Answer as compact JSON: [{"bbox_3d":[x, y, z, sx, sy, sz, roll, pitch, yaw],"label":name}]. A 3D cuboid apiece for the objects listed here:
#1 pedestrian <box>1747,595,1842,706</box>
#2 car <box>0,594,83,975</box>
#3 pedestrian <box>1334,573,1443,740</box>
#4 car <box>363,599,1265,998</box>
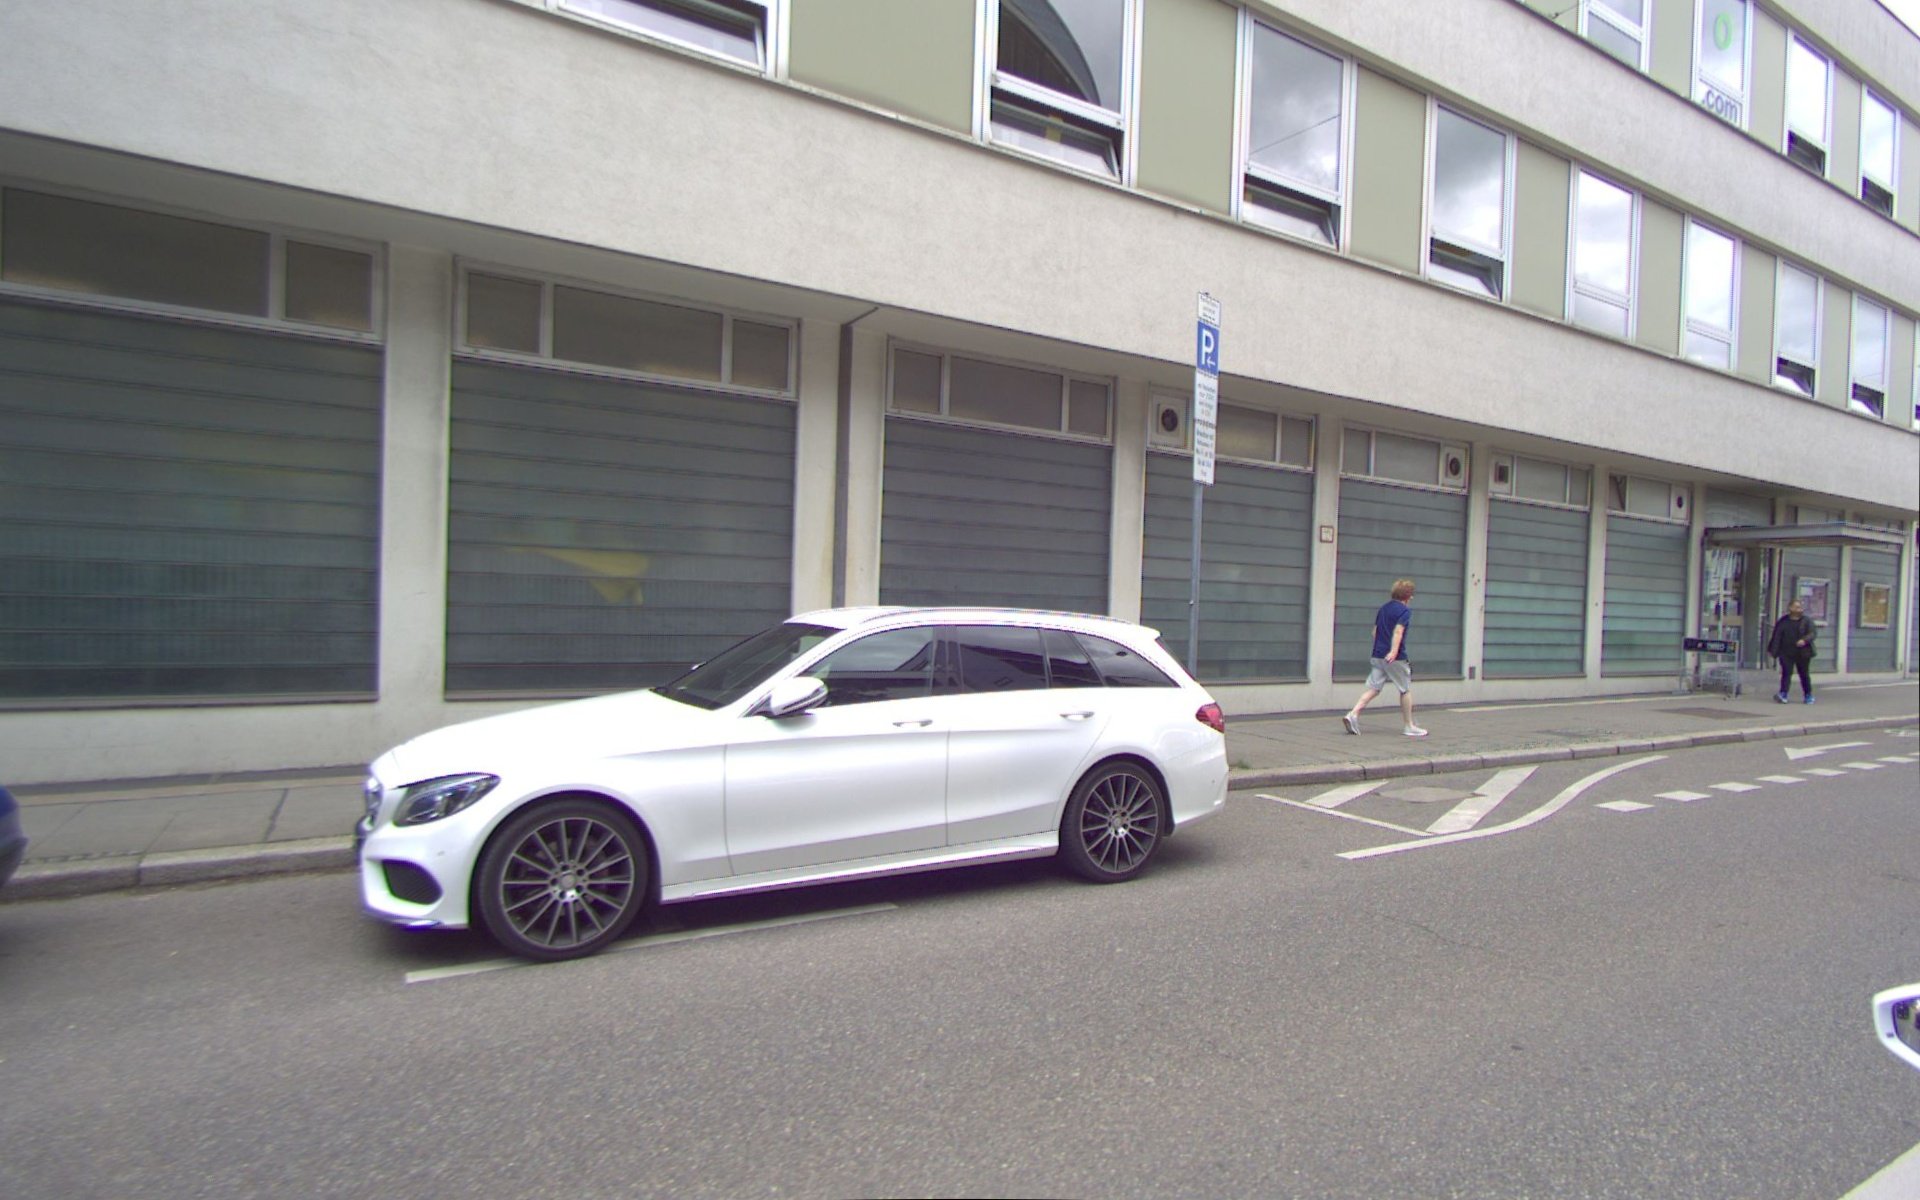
[{"bbox_3d":[13.793,0.811,16.607,1.020,1.741,0.857,1,2,-32],"label":"pedestrian"},{"bbox_3d":[-5.473,0.662,2.793,4.210,1.444,1.808,1,-1,-28],"label":"car"},{"bbox_3d":[4.707,0.599,11.036,1.044,1.741,0.586,1,0,-32],"label":"pedestrian"},{"bbox_3d":[-0.587,0.776,5.494,4.496,1.453,1.663,1,-1,-29],"label":"car"}]
